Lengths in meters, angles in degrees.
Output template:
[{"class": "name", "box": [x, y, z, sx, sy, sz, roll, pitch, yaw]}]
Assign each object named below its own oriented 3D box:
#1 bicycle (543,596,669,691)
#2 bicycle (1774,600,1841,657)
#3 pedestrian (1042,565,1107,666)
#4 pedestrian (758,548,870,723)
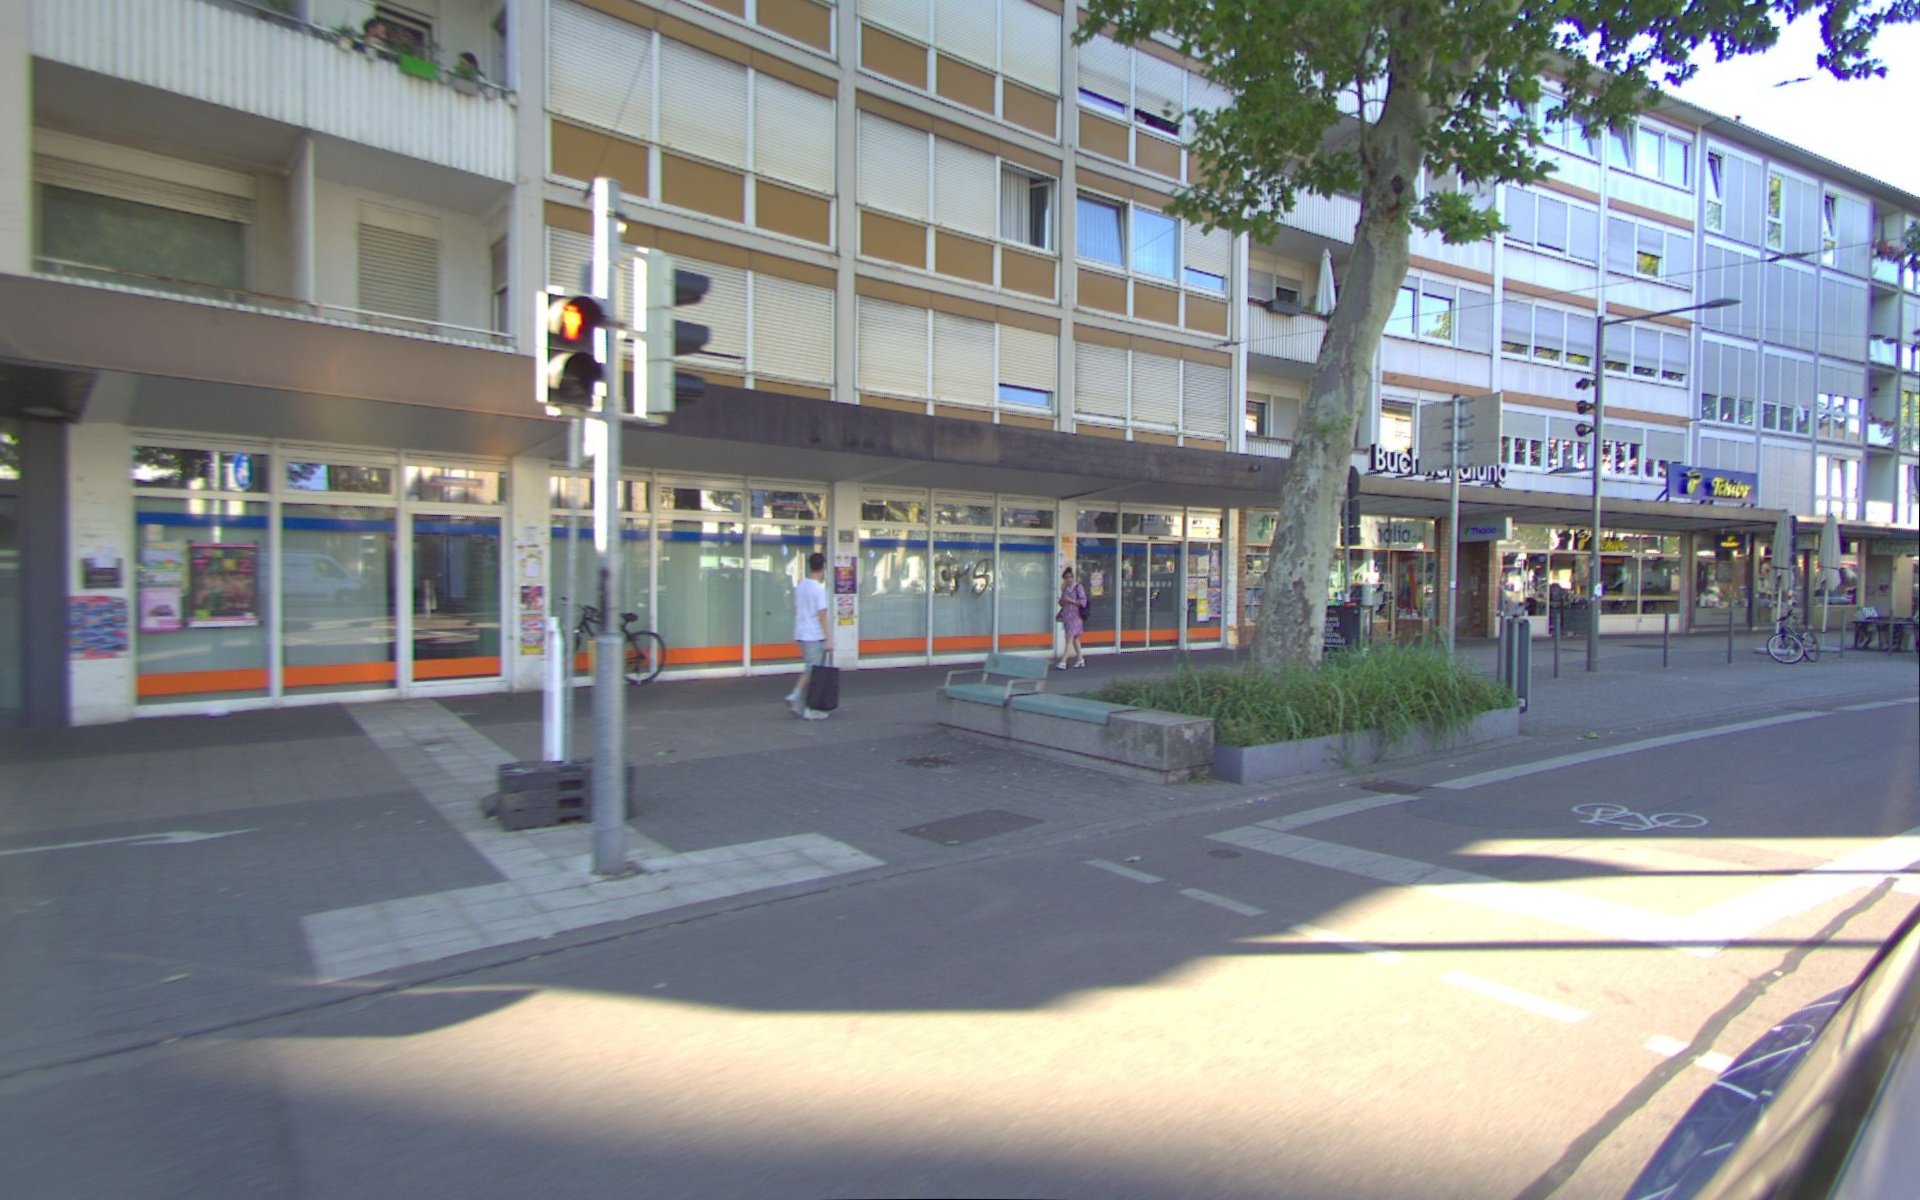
[{"class": "bicycle", "box": [-4.466, 0.523, 12.804, 1.437, 1.106, 0.438, -1, 4, -42]}, {"class": "bicycle", "box": [17.441, 0.569, 20.818, 1.628, 1.083, 0.513, 0, 3, -31]}, {"class": "pedestrian", "box": [1.839, 0.232, 16.291, 0.792, 1.571, 0.641, -1, 2, -35]}, {"class": "pedestrian", "box": [-1.536, 0.340, 10.652, 0.835, 1.733, 0.781, 4, 3, 44]}]
